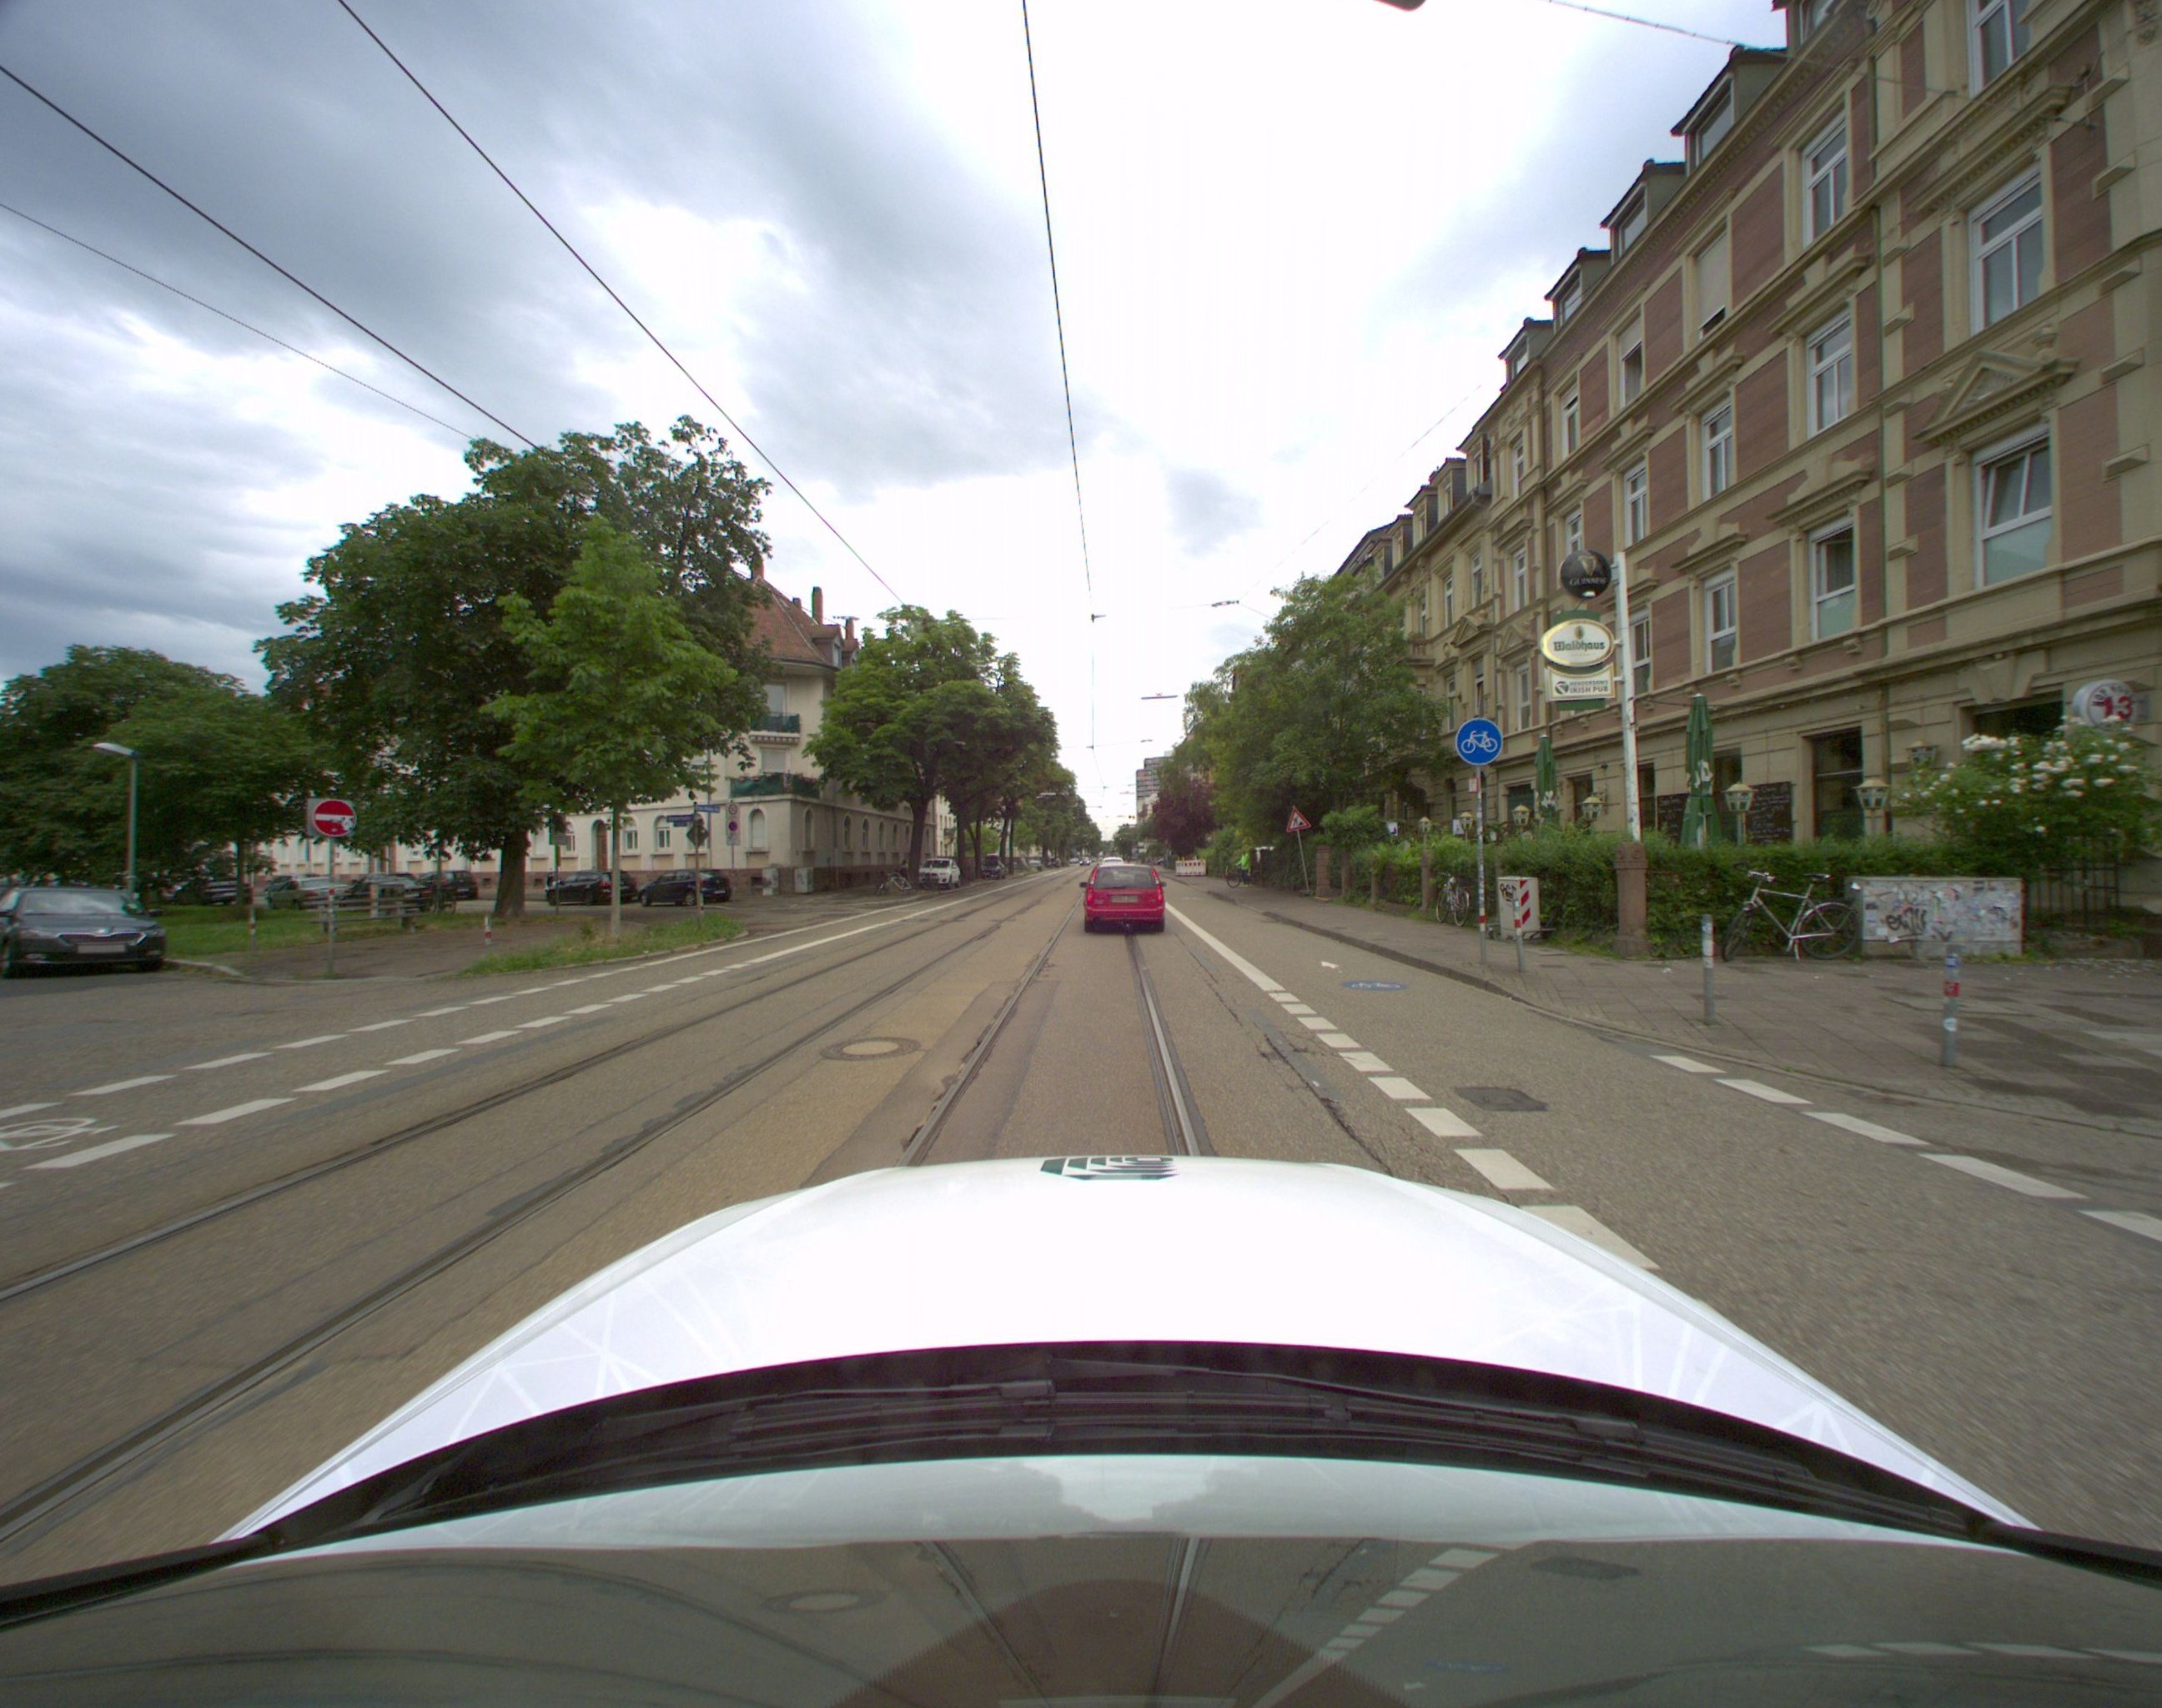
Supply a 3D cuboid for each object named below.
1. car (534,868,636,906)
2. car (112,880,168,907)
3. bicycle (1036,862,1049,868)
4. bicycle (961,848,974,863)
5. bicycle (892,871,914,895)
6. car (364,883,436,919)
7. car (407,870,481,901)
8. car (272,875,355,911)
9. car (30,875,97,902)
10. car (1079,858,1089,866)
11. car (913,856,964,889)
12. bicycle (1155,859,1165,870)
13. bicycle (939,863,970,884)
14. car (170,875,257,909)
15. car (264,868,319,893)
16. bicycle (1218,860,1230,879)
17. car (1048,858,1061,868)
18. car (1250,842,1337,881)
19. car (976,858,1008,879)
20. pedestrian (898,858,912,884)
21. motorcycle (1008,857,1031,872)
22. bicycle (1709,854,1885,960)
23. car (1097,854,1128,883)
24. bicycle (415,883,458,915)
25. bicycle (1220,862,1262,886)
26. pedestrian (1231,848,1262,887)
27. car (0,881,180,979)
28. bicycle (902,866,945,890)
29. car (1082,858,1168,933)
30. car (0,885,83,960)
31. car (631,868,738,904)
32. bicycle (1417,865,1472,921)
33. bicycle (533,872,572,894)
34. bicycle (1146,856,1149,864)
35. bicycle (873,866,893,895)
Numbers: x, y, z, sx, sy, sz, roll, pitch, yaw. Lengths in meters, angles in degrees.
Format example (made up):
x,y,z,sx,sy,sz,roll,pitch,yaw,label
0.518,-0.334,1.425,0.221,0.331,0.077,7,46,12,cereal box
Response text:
x,y,z,sx,sy,sz,roll,pitch,yaw,label
-20.782,1.361,34.109,3.896,1.464,1.716,-1,0,24,car
-51.209,2.117,44.318,3.079,1.390,1.302,-1,0,28,car
-5.455,1.487,114.426,1.741,0.844,0.684,-1,0,2,bicycle
-10.351,0.159,74.130,0.789,1.382,2.142,-2,-1,2,bicycle
-7.433,1.193,34.048,0.481,0.958,1.399,-1,0,4,bicycle
-26.510,1.802,31.690,2.929,1.299,1.364,-1,0,33,car
-31.952,1.547,40.855,3.455,1.441,1.685,-1,0,28,car
-32.511,1.602,34.479,3.948,1.409,1.684,-1,0,33,car
-65.382,2.160,52.325,4.443,1.611,1.912,-1,0,28,car
0.539,1.434,146.968,1.749,1.380,4.027,-1,0,1,car
-7.511,0.944,43.260,1.890,1.655,4.226,0,0,1,car
11.572,1.501,119.440,0.909,1.507,2.392,-1,0,19,bicycle
-7.568,1.148,48.698,1.730,1.192,0.655,1,0,16,bicycle
-42.716,1.847,40.105,3.950,1.534,1.858,-1,0,26,car
-46.611,1.564,48.066,3.270,1.430,1.397,-1,0,28,car
8.231,0.896,46.910,0.477,1.045,1.532,-1,0,2,bicycle
-4.184,1.424,129.194,1.844,1.563,3.944,-1,0,2,car
10.808,0.381,41.595,3.972,1.858,1.810,-2,0,2,car
-6.813,1.083,62.472,1.770,1.511,4.240,0,0,3,car
-10.162,0.983,46.989,0.562,1.467,0.723,-1,0,2,pedestrian
-6.340,1.116,84.160,2.243,1.511,0.932,-1,-2,37,motorcycle
8.940,0.653,10.224,1.593,1.277,0.515,-1,0,13,bicycle
1.873,0.828,47.651,1.711,1.625,3.945,-1,0,4,car
-19.959,1.379,25.214,1.653,0.925,0.451,-1,0,29,bicycle
7.478,0.947,38.042,1.835,1.076,0.606,-1,0,0,bicycle
7.677,0.622,37.732,1.224,1.733,1.018,-1,0,1,pedestrian
-17.699,1.236,14.337,4.018,1.410,1.672,0,0,30,car
-7.592,1.152,39.258,1.915,1.121,0.624,1,0,1,bicycle
0.919,0.831,17.862,1.683,1.441,3.744,0,0,2,car
-22.391,1.359,16.693,3.959,1.346,1.675,0,0,28,car
-15.340,1.216,31.524,3.715,1.307,1.751,-1,0,25,car
7.218,0.745,16.234,0.300,1.041,1.849,-1,0,2,bicycle
-26.118,1.428,40.247,2.163,1.035,0.657,-1,0,28,bicycle
11.417,1.043,139.840,0.549,1.400,1.735,-1,0,2,bicycle
-8.460,1.102,34.781,0.676,1.136,1.925,-1,1,-17,bicycle
